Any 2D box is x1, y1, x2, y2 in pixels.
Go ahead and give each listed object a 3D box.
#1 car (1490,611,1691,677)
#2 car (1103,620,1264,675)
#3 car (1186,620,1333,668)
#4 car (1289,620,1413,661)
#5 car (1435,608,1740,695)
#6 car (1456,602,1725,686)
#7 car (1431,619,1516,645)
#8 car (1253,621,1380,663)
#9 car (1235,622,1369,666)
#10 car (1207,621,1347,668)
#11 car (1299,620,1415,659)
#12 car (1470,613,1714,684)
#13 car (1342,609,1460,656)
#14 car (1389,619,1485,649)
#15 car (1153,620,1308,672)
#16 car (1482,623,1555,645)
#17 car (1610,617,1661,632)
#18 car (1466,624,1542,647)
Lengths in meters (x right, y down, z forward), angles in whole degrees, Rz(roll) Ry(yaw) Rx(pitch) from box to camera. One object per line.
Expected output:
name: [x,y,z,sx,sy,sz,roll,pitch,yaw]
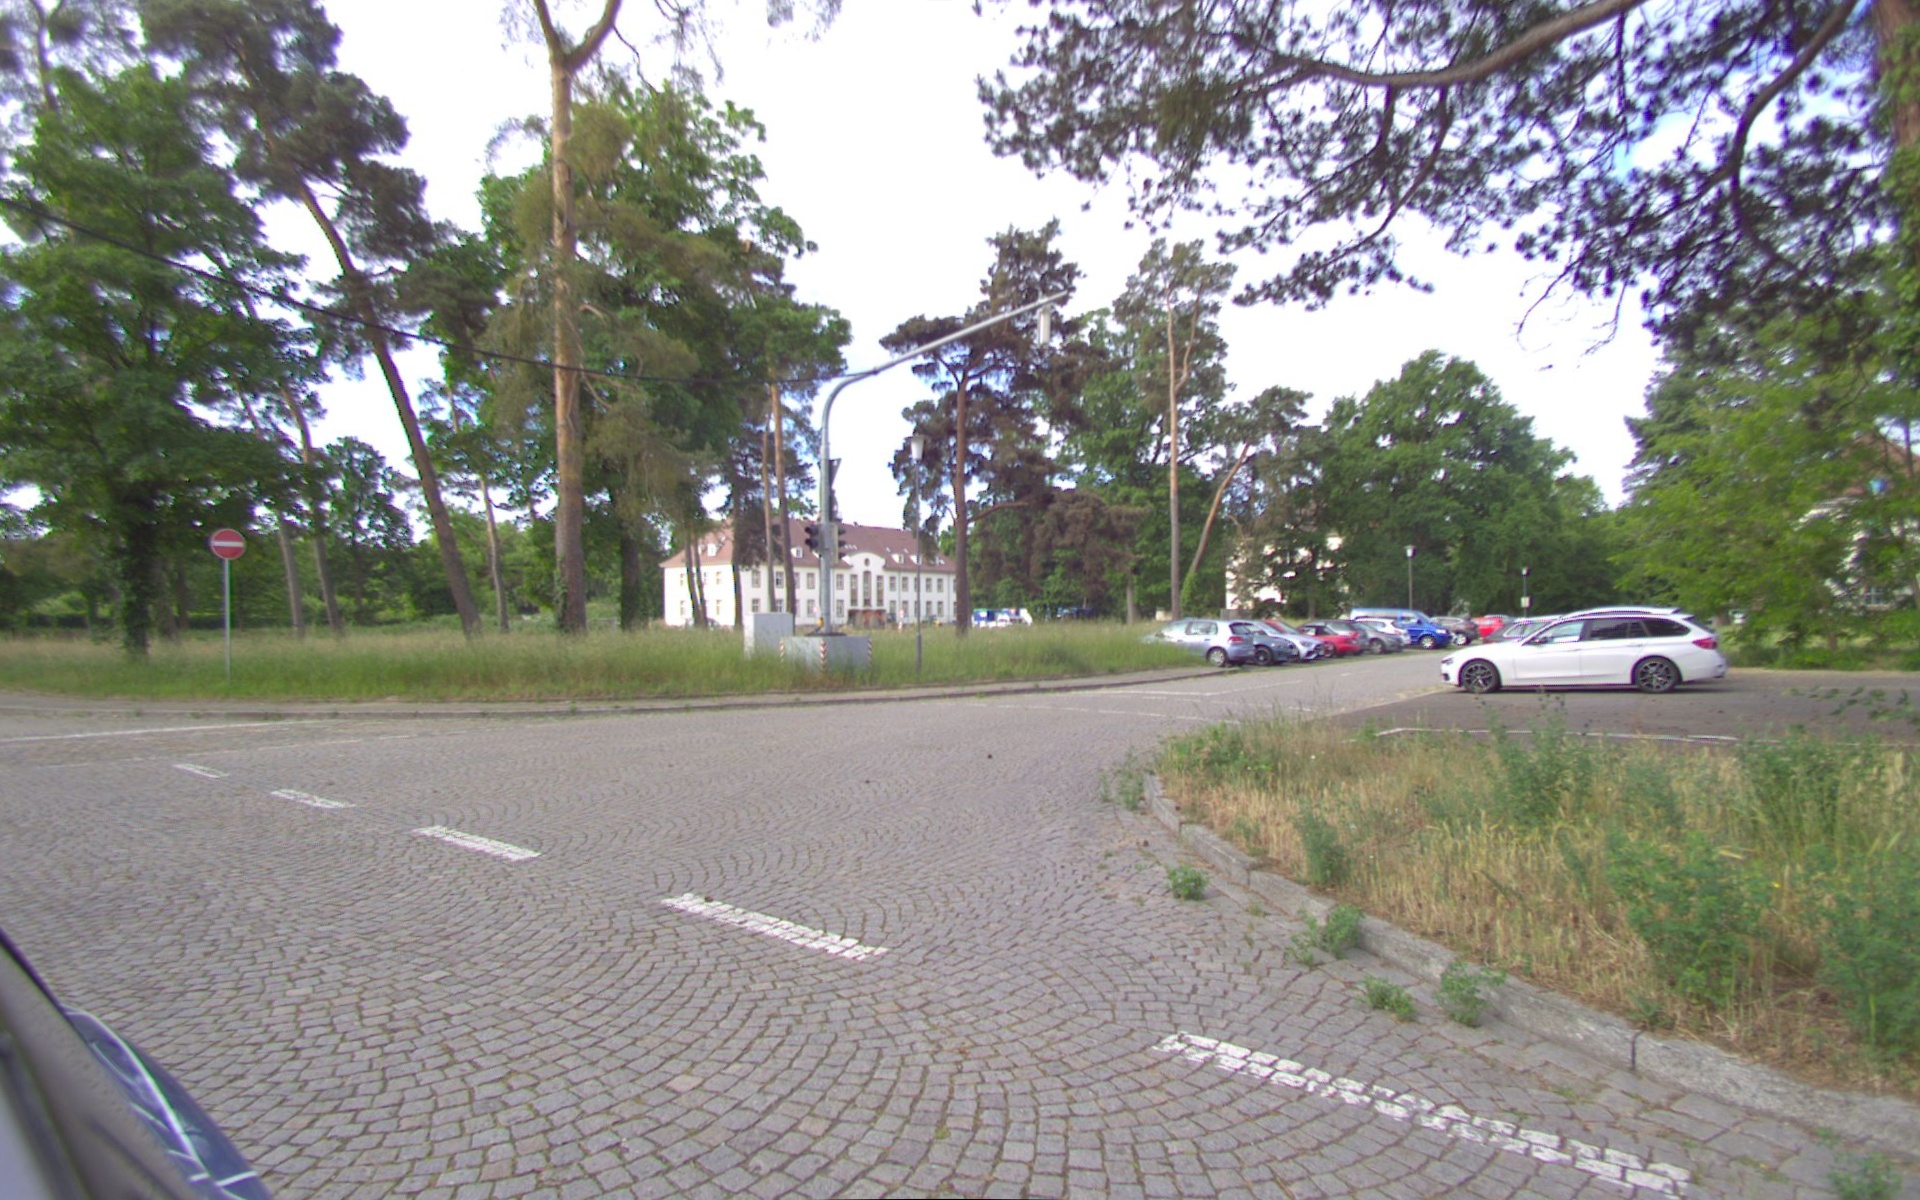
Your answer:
car: [16.000,1.145,25.784,4.108,1.533,1.715,-4,-3,39]
car: [6.957,1.502,31.675,4.567,1.559,1.822,-3,-3,31]
car: [10.505,1.574,35.659,4.575,1.533,1.819,-4,-3,36]
car: [16.745,1.751,43.436,4.575,1.571,1.819,-4,-3,36]
car: [11.696,0.994,19.102,4.645,1.461,1.819,-4,-3,36]
car: [13.124,0.962,21.262,4.575,1.590,1.819,-4,-3,36]
car: [33.081,2.064,65.237,4.575,1.533,1.819,-4,-3,36]
car: [14.620,1.747,41.658,4.575,1.533,1.819,-4,-3,36]
car: [13.287,1.730,39.410,4.575,1.533,1.819,-4,-3,36]
car: [11.763,1.665,37.680,4.575,1.571,1.819,-4,-3,36]
car: [18.086,1.802,46.175,4.575,1.586,1.819,-4,-3,36]
car: [14.556,1.141,23.464,4.579,1.480,1.817,-4,-3,39]
car: [21.755,1.630,50.013,4.973,2.113,1.818,-4,-3,37]
car: [26.920,1.948,57.171,4.575,1.533,1.819,-4,-3,36]
car: [8.913,1.540,33.560,4.575,1.533,1.819,-4,-3,36]
car: [42.164,2.574,76.460,4.575,1.533,1.819,-4,-3,36]
car: [74.762,2.700,112.066,4.575,1.645,1.819,-2,-2,36]
car: [39.290,2.573,73.123,4.575,1.533,1.819,-4,-3,36]
